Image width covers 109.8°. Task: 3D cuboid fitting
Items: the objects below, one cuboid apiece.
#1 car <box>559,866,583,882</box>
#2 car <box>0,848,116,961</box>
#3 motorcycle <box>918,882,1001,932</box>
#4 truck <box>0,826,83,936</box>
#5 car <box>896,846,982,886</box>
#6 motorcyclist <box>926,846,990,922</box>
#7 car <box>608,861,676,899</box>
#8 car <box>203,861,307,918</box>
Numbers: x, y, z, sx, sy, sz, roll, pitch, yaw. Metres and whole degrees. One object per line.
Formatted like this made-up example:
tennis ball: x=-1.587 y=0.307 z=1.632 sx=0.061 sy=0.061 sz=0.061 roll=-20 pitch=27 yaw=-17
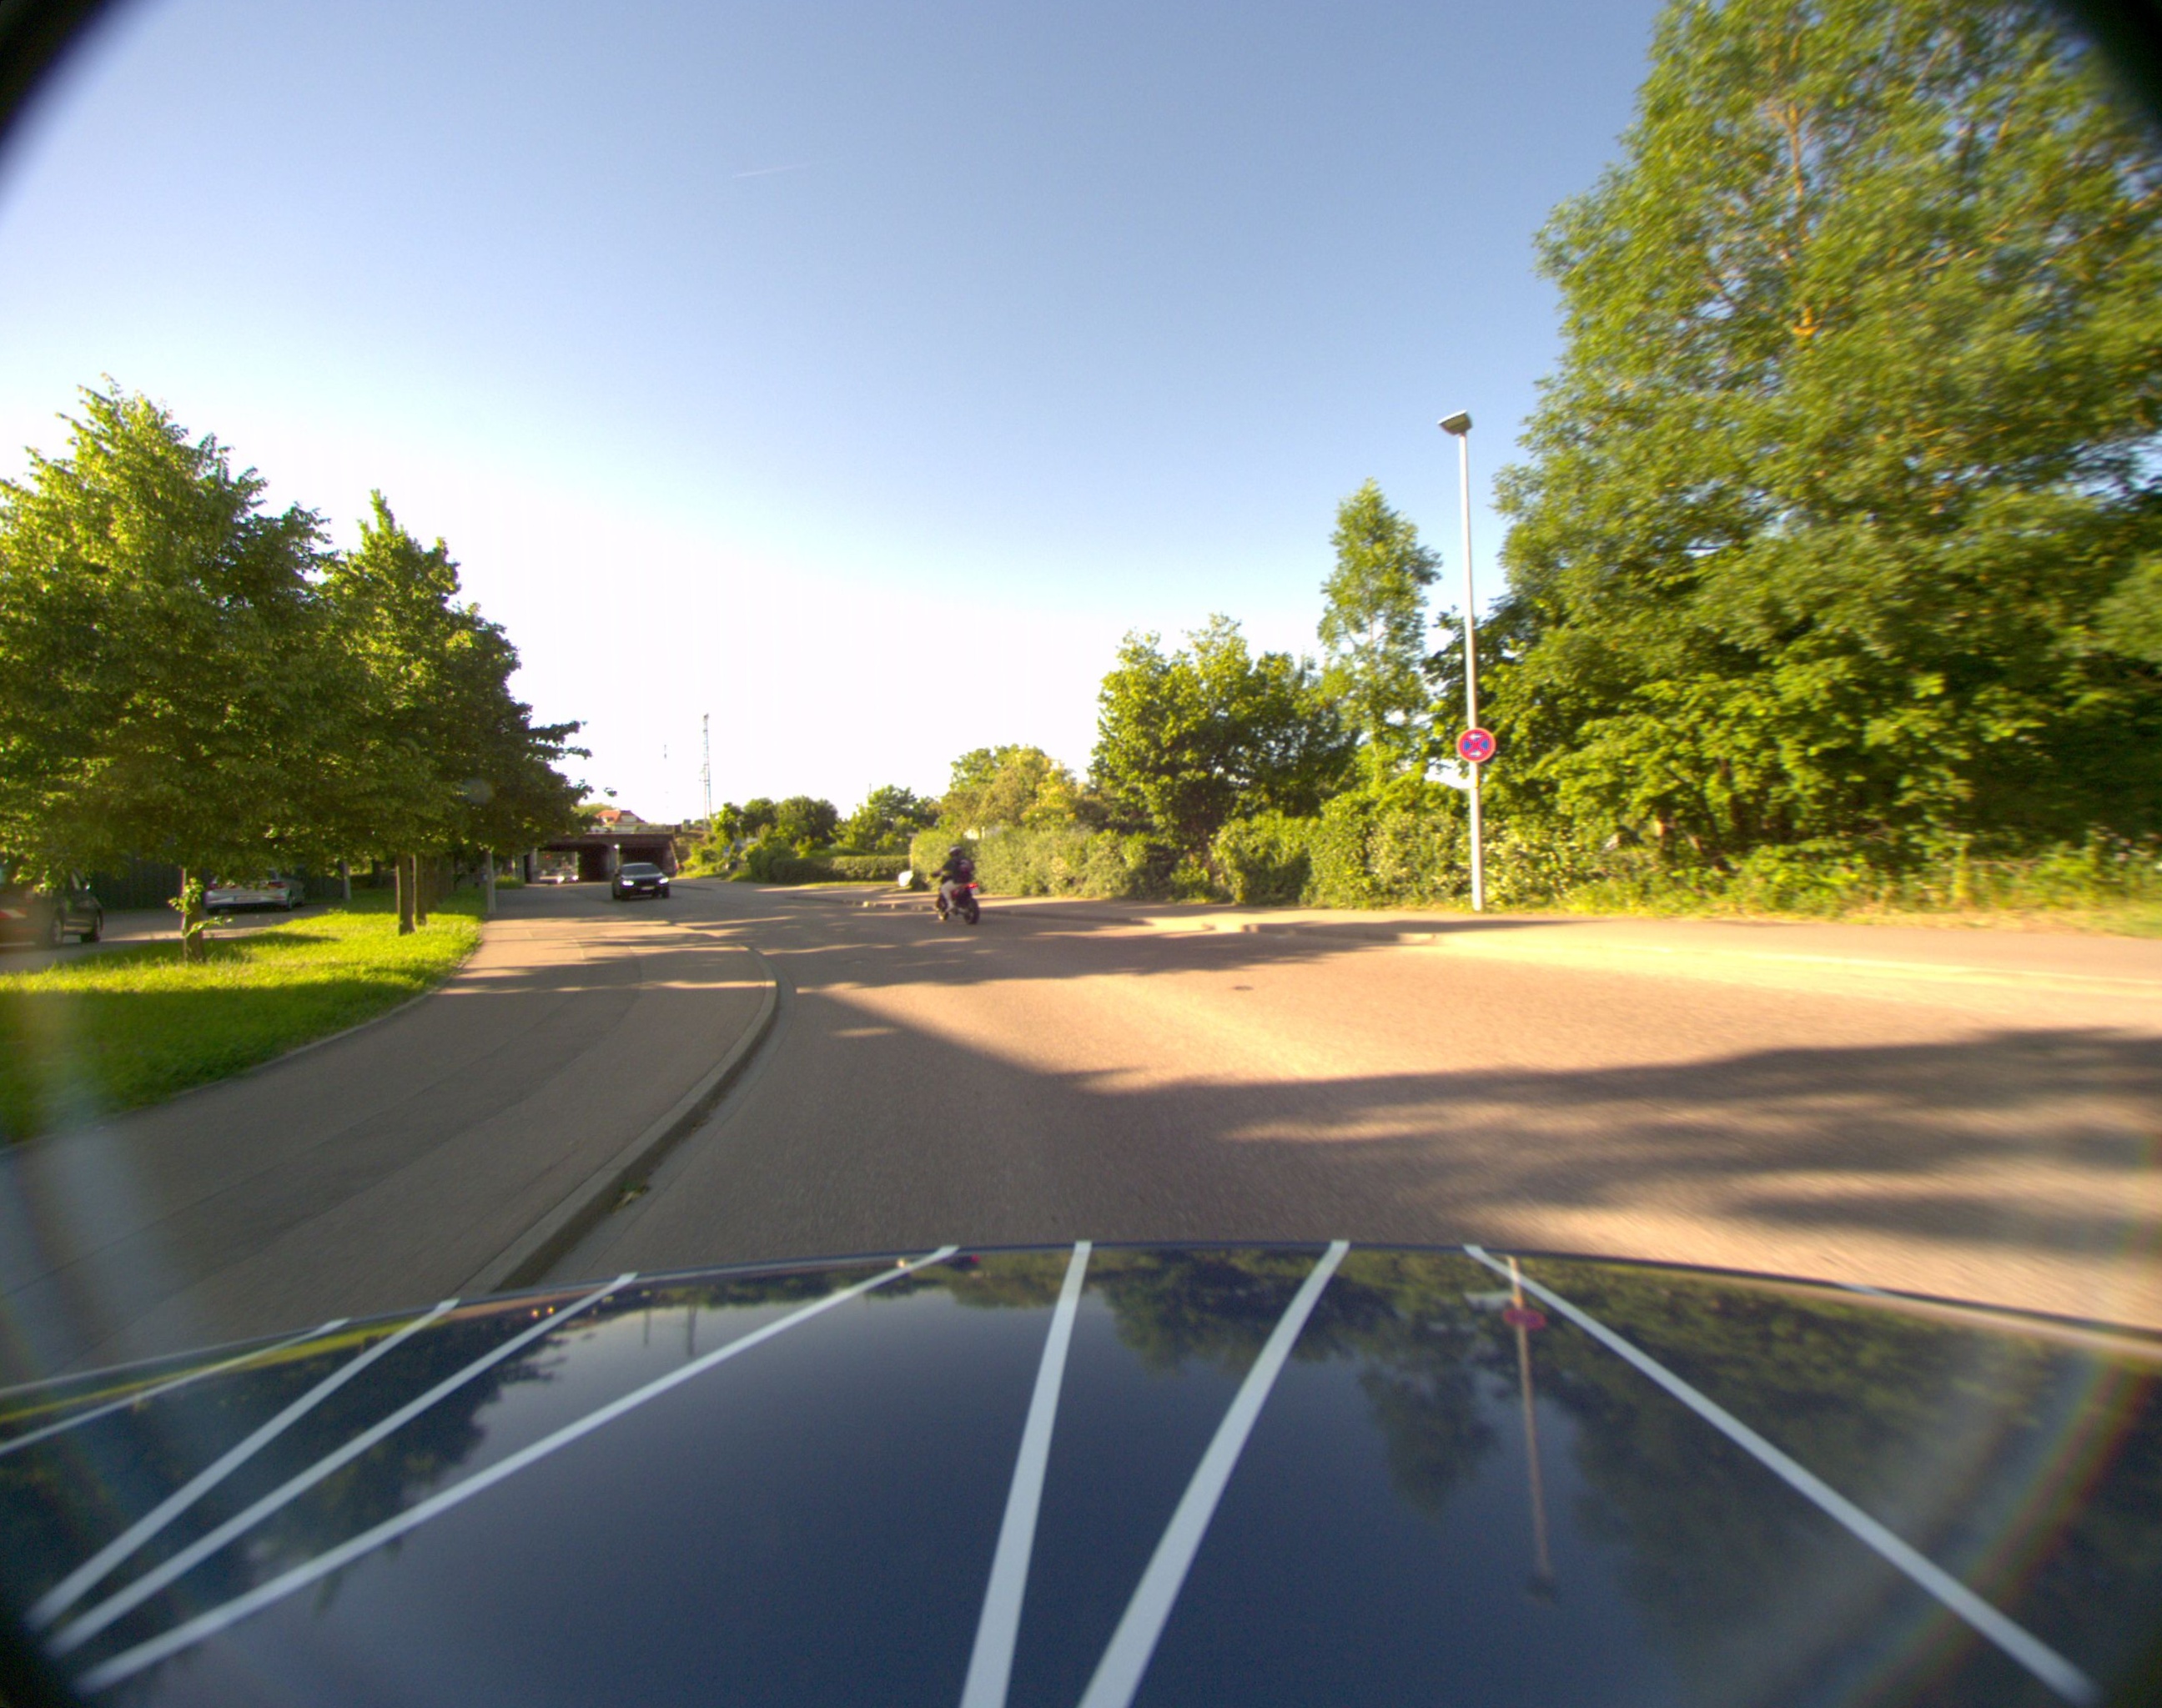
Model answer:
car: x=-55.210 y=2.147 z=82.194 sx=2.041 sy=1.623 sz=4.602 roll=-3 pitch=1 yaw=-34
car: x=-19.478 y=0.868 z=13.678 sx=1.904 sy=1.847 sz=4.229 roll=-2 pitch=0 yaw=-42
motorcycle: x=-2.769 y=1.155 z=17.118 sx=0.837 sy=0.966 sz=2.294 roll=-2 pitch=1 yaw=-38
truck: x=-28.325 y=0.718 z=18.980 sx=2.583 sy=2.676 sz=6.400 roll=-3 pitch=1 yaw=-39
car: x=-6.985 y=0.563 z=37.769 sx=3.999 sy=1.773 sz=1.999 roll=-2 pitch=1 yaw=-6
motorcyclist: x=-2.772 y=0.654 z=17.086 sx=0.868 sy=1.602 sz=1.239 roll=-3 pitch=1 yaw=-38
car: x=-21.054 y=1.206 z=36.351 sx=2.042 sy=1.623 sz=4.601 roll=-3 pitch=1 yaw=-39
car: x=-26.107 y=1.063 z=24.139 sx=1.781 sy=1.477 sz=3.640 roll=-2 pitch=3 yaw=-41
